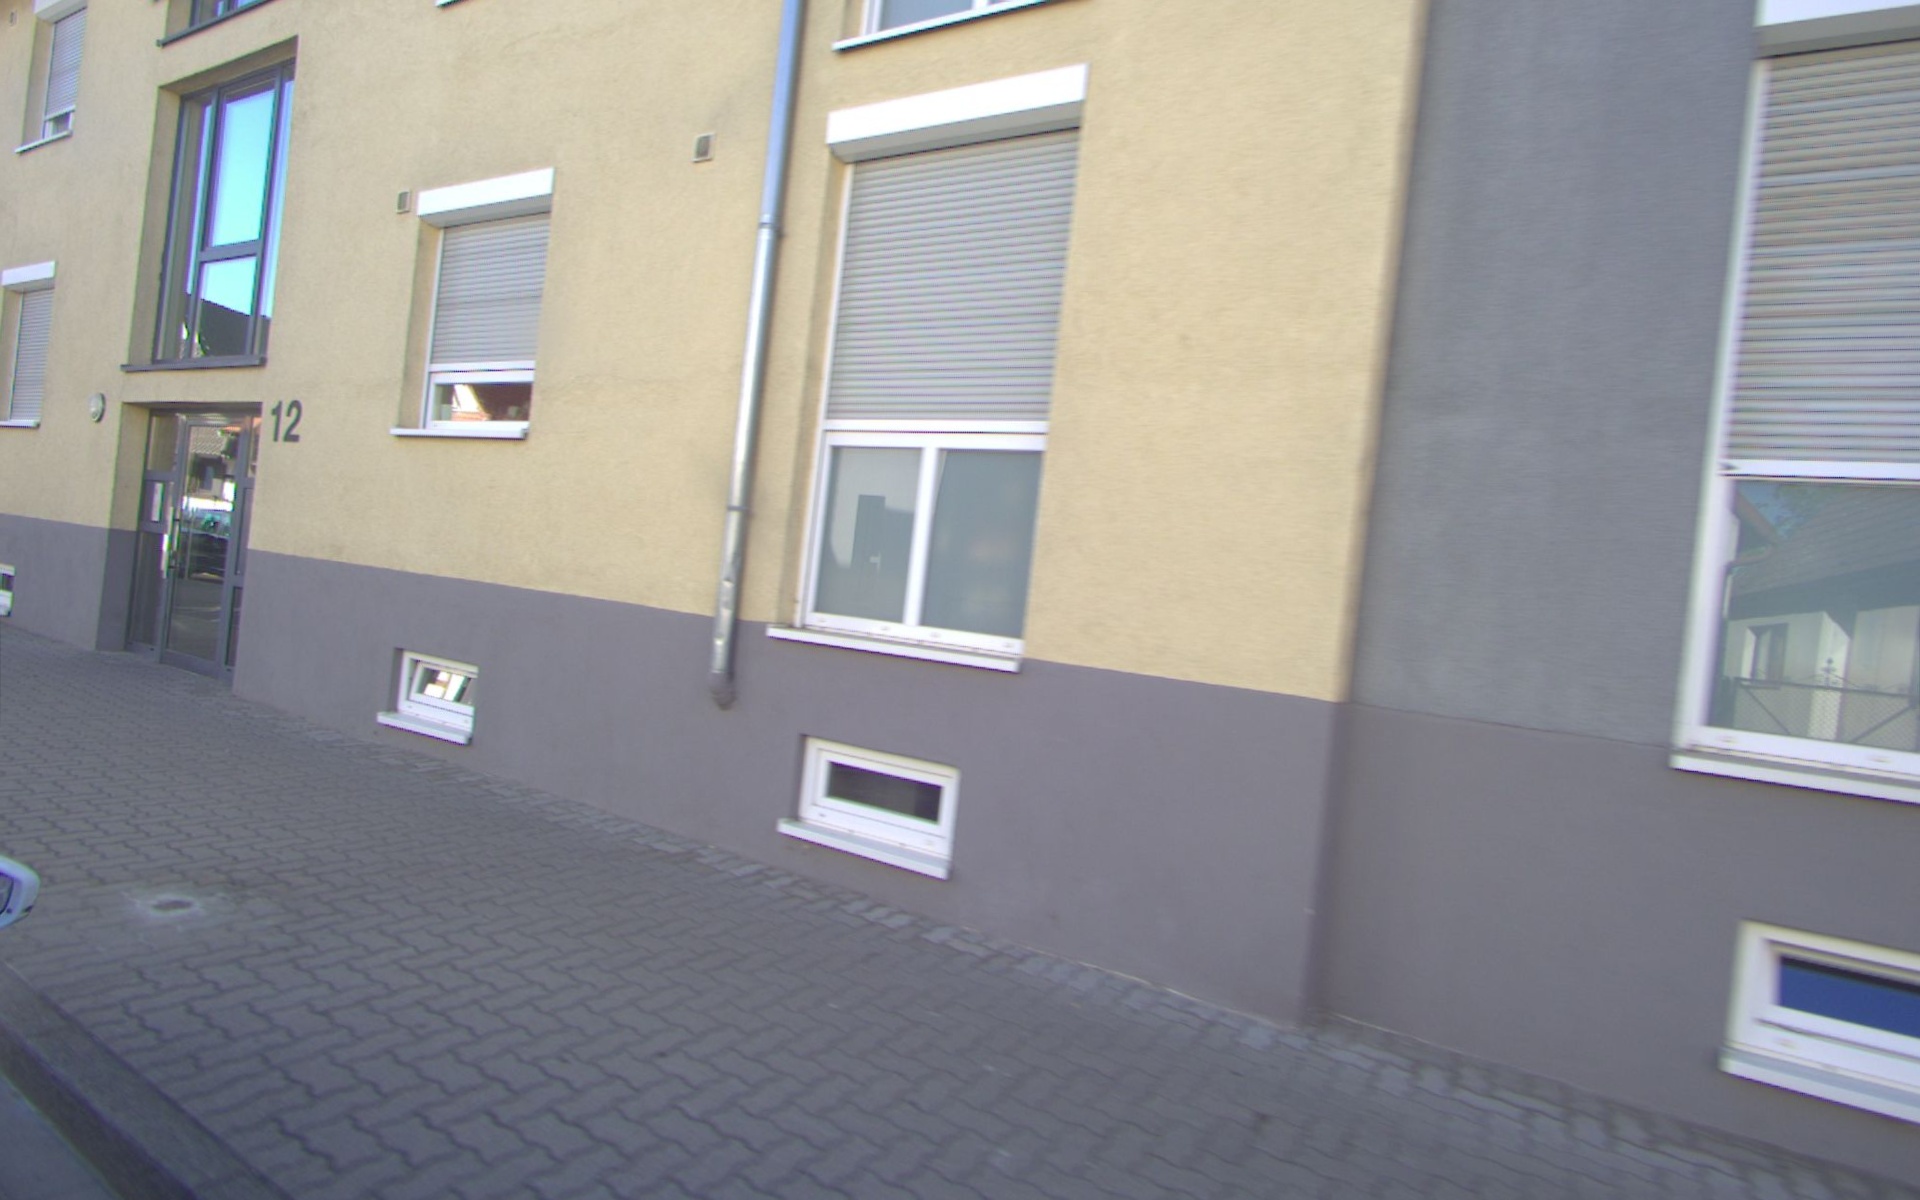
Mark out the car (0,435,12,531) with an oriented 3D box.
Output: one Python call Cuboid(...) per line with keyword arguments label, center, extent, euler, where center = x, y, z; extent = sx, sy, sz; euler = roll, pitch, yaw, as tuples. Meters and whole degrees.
Cuboid(label="car", center=(-29.277, -3.491, 26.552), extent=(1.935, 2.689, 5.808), euler=(6, 1, 30))
